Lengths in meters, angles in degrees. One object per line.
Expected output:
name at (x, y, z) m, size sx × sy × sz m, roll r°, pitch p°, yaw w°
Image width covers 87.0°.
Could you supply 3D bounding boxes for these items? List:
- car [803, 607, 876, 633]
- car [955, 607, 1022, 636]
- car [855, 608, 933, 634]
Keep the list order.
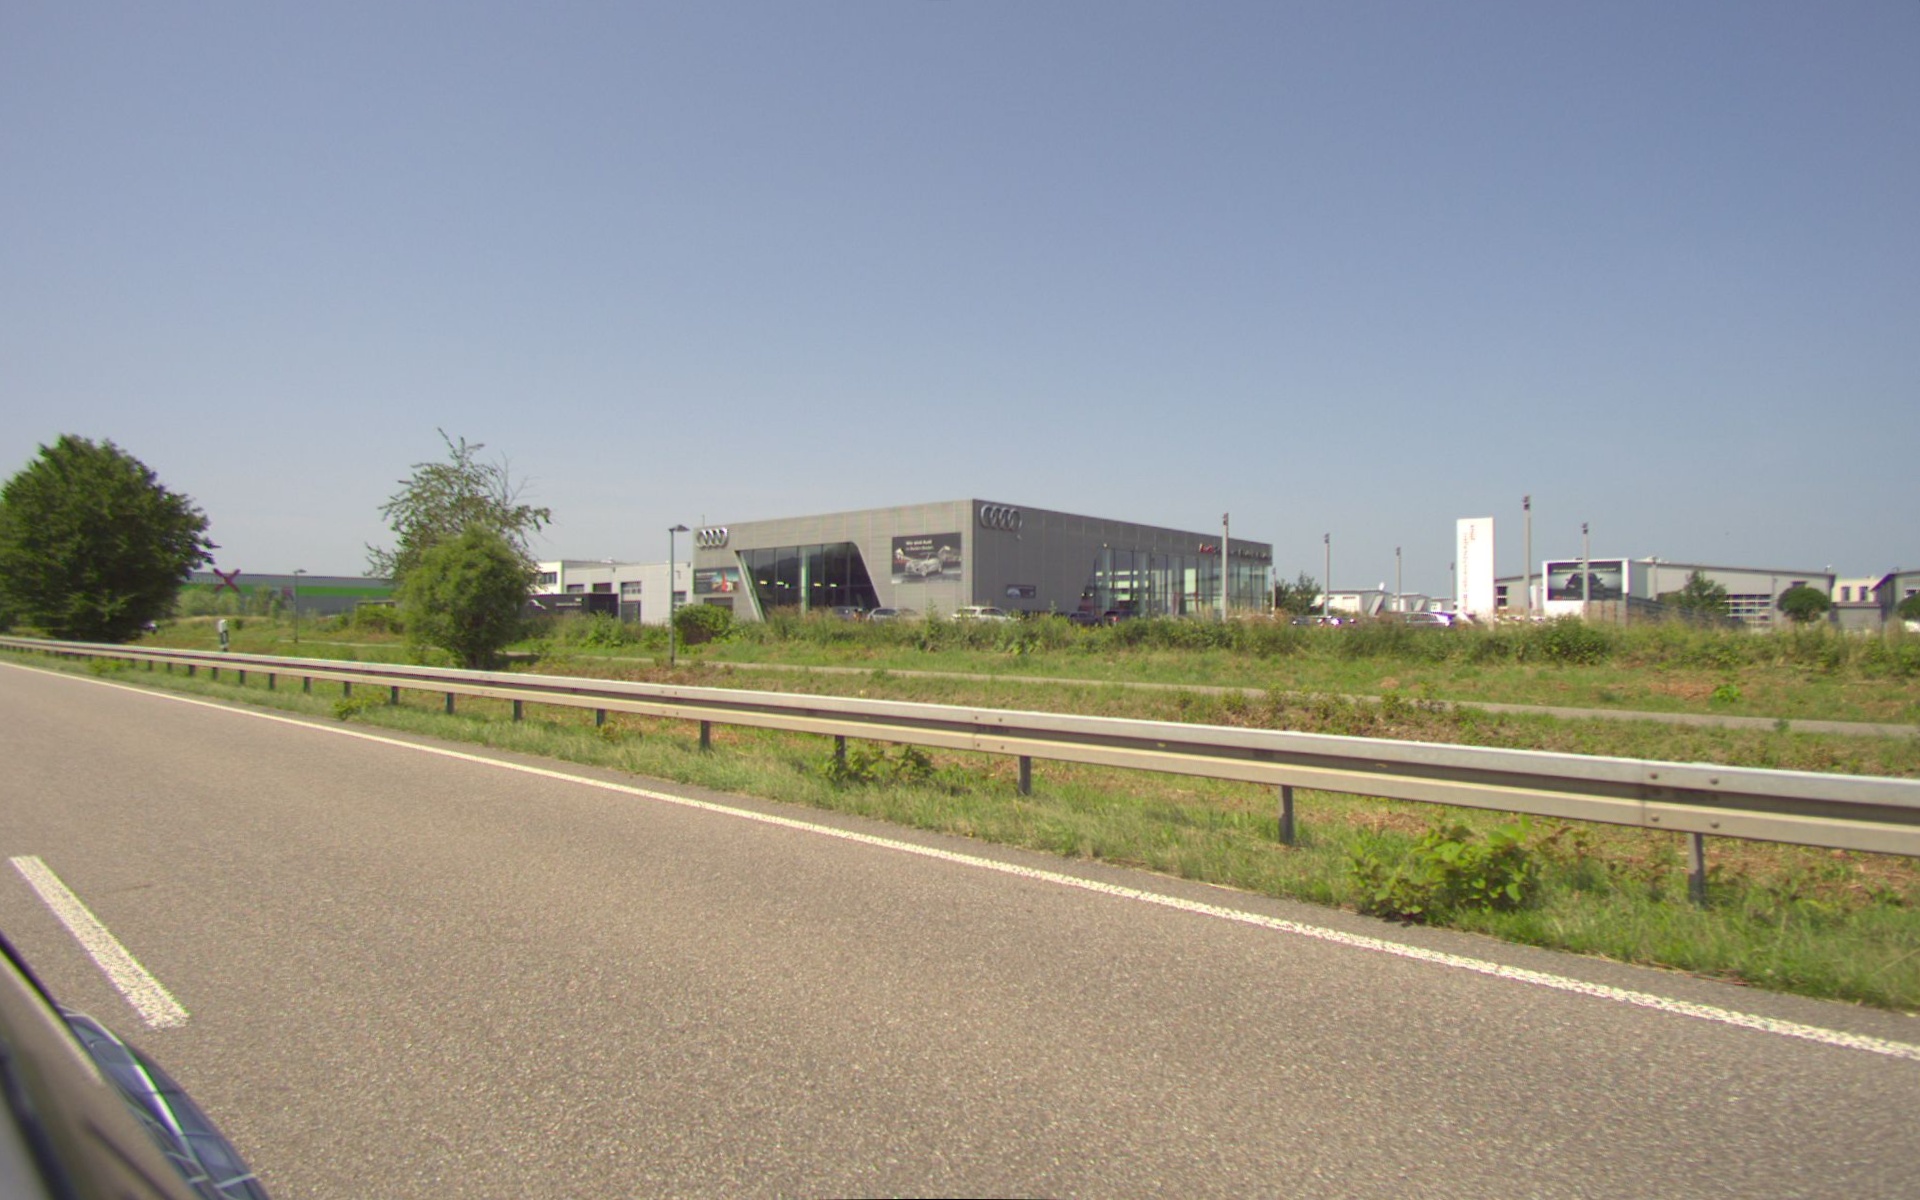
car at (-7.398, 1.241, 61.953) m, size 4.662 × 1.549 × 1.729 m, roll -1°, pitch -3°, yaw 41°
car at (1.595, 1.165, 54.649) m, size 1.620 × 1.448 × 4.190 m, roll -1°, pitch -3°, yaw 34°
car at (-3.827, 1.218, 58.354) m, size 4.663 × 1.448 × 1.729 m, roll -1°, pitch -3°, yaw 41°
